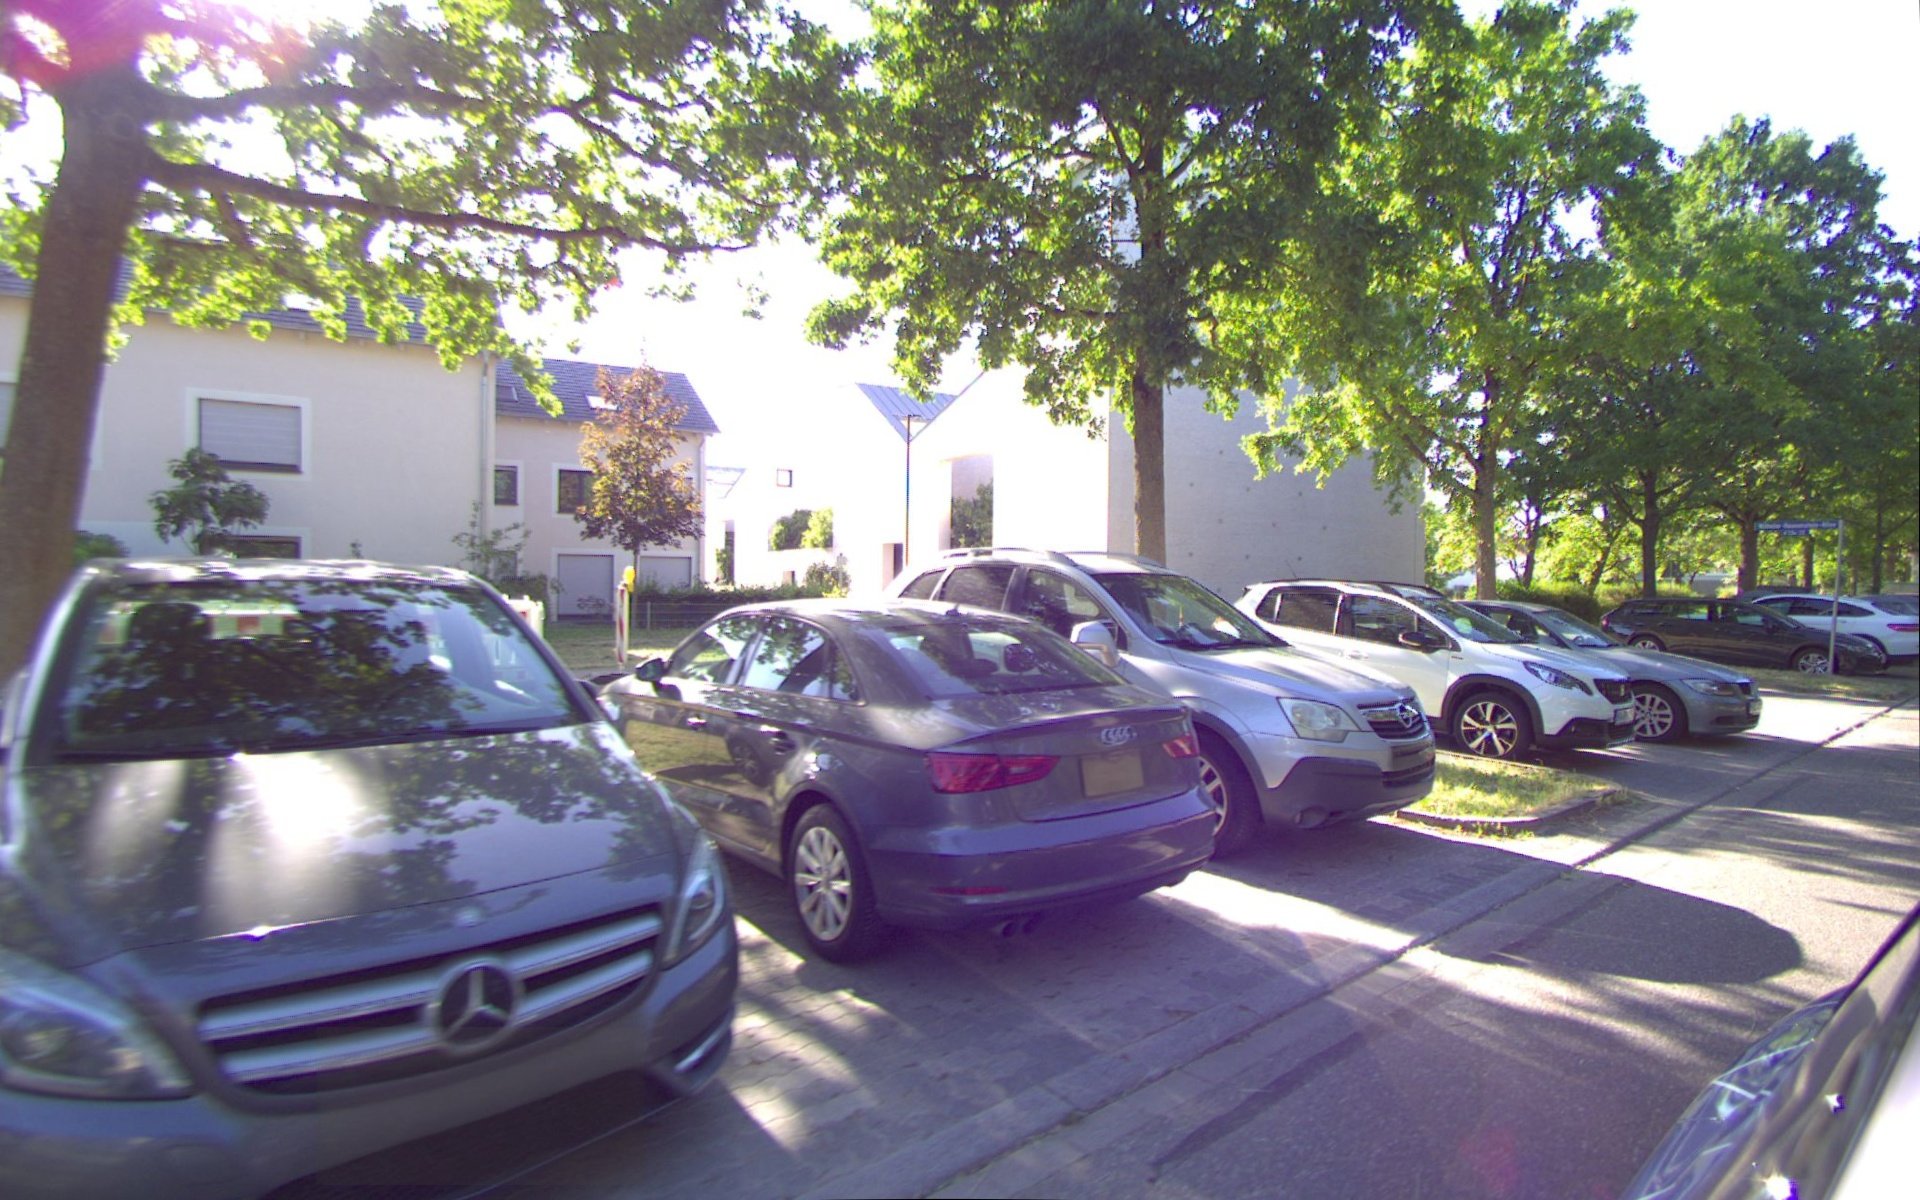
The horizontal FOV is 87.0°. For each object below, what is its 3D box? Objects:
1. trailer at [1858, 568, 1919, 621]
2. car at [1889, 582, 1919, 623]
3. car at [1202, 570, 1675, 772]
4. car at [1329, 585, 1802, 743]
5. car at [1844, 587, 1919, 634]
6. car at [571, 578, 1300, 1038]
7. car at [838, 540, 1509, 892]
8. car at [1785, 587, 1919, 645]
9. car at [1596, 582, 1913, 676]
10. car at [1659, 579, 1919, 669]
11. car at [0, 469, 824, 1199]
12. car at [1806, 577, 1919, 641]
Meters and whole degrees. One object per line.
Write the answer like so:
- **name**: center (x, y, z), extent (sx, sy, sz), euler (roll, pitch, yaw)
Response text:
- **trailer**: center (44.878, -0.192, 45.981), extent (1.655, 2.346, 5.792), euler (0, 3, -38)
- **car**: center (43.341, 0.198, 43.579), extent (1.952, 1.743, 4.654), euler (0, 3, -39)
- **car**: center (4.596, 0.524, 10.177), extent (1.746, 1.515, 3.893), euler (0, 3, -41)
- **car**: center (6.949, 0.586, 12.038), extent (1.877, 1.407, 4.455), euler (0, 2, -40)
- **car**: center (33.757, 0.399, 35.191), extent (2.040, 1.537, 4.256), euler (0, 2, -39)
- **car**: center (-0.486, 0.632, 5.399), extent (1.866, 1.451, 3.997), euler (0, 1, -38)
- **car**: center (1.161, 0.468, 7.153), extent (1.819, 1.671, 4.392), euler (0, 3, -42)
- **car**: center (26.937, 0.470, 29.434), extent (1.767, 1.490, 4.233), euler (0, 3, -38)
- **car**: center (15.646, 0.480, 20.167), extent (1.883, 1.473, 4.681), euler (0, 3, -41)
- **car**: center (18.131, 0.440, 21.822), extent (1.882, 1.600, 4.682), euler (0, 3, -39)
- **car**: center (-2.451, 0.569, 3.516), extent (1.900, 1.588, 4.219), euler (0, 0, -42)
- **car**: center (28.954, 0.291, 30.875), extent (1.902, 1.823, 4.540), euler (0, 2, -40)
